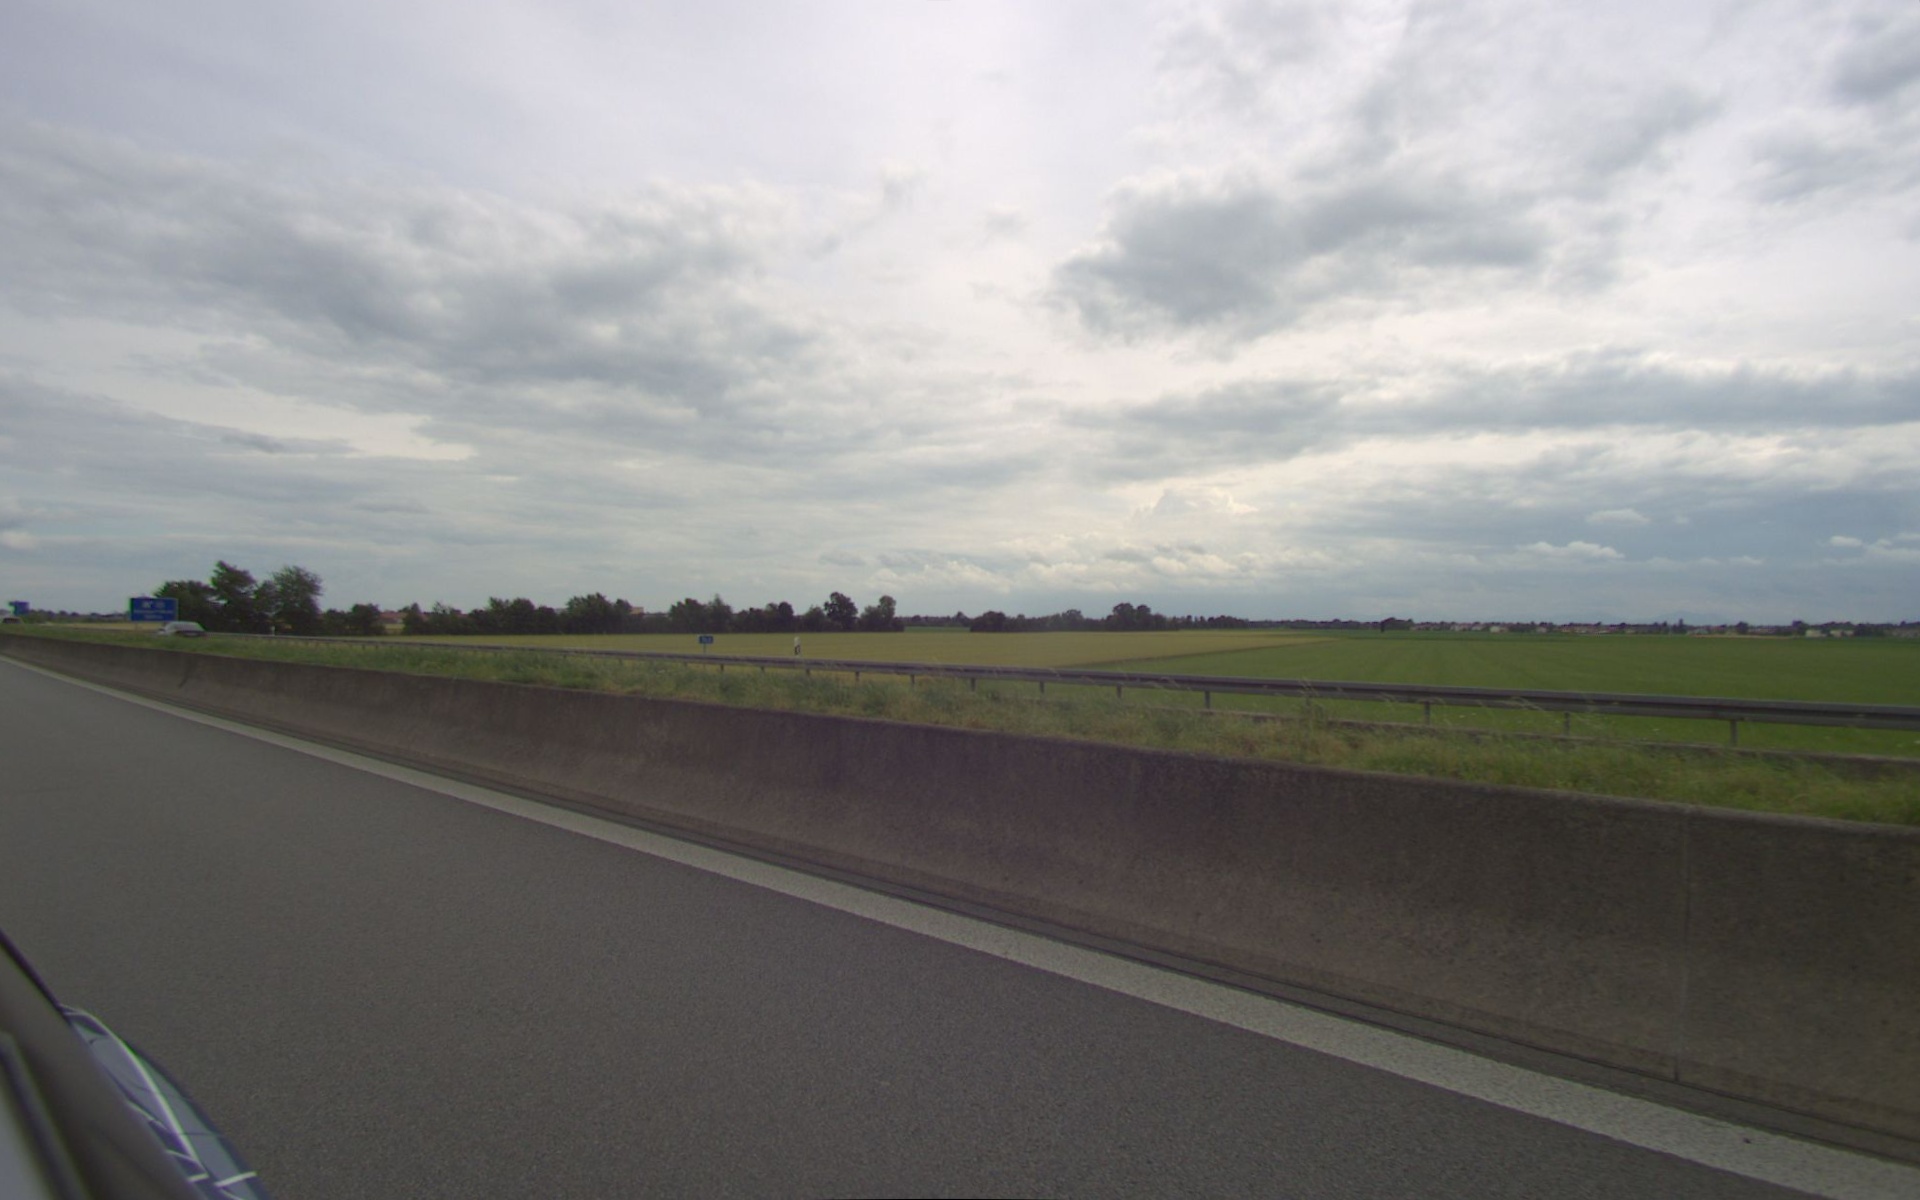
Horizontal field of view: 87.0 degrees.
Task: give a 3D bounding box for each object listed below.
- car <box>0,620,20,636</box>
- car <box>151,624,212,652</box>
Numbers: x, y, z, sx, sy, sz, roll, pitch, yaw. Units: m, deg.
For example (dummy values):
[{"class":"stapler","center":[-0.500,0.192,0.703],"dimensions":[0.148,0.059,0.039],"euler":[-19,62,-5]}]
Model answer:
[{"class":"car","center":[-91.911,2.664,97.452],"dimensions":[4.182,1.503,1.671],"euler":[-1,-2,42]},{"class":"car","center":[-43.008,2.090,55.869],"dimensions":[4.903,1.483,1.770],"euler":[-1,-4,42]}]
